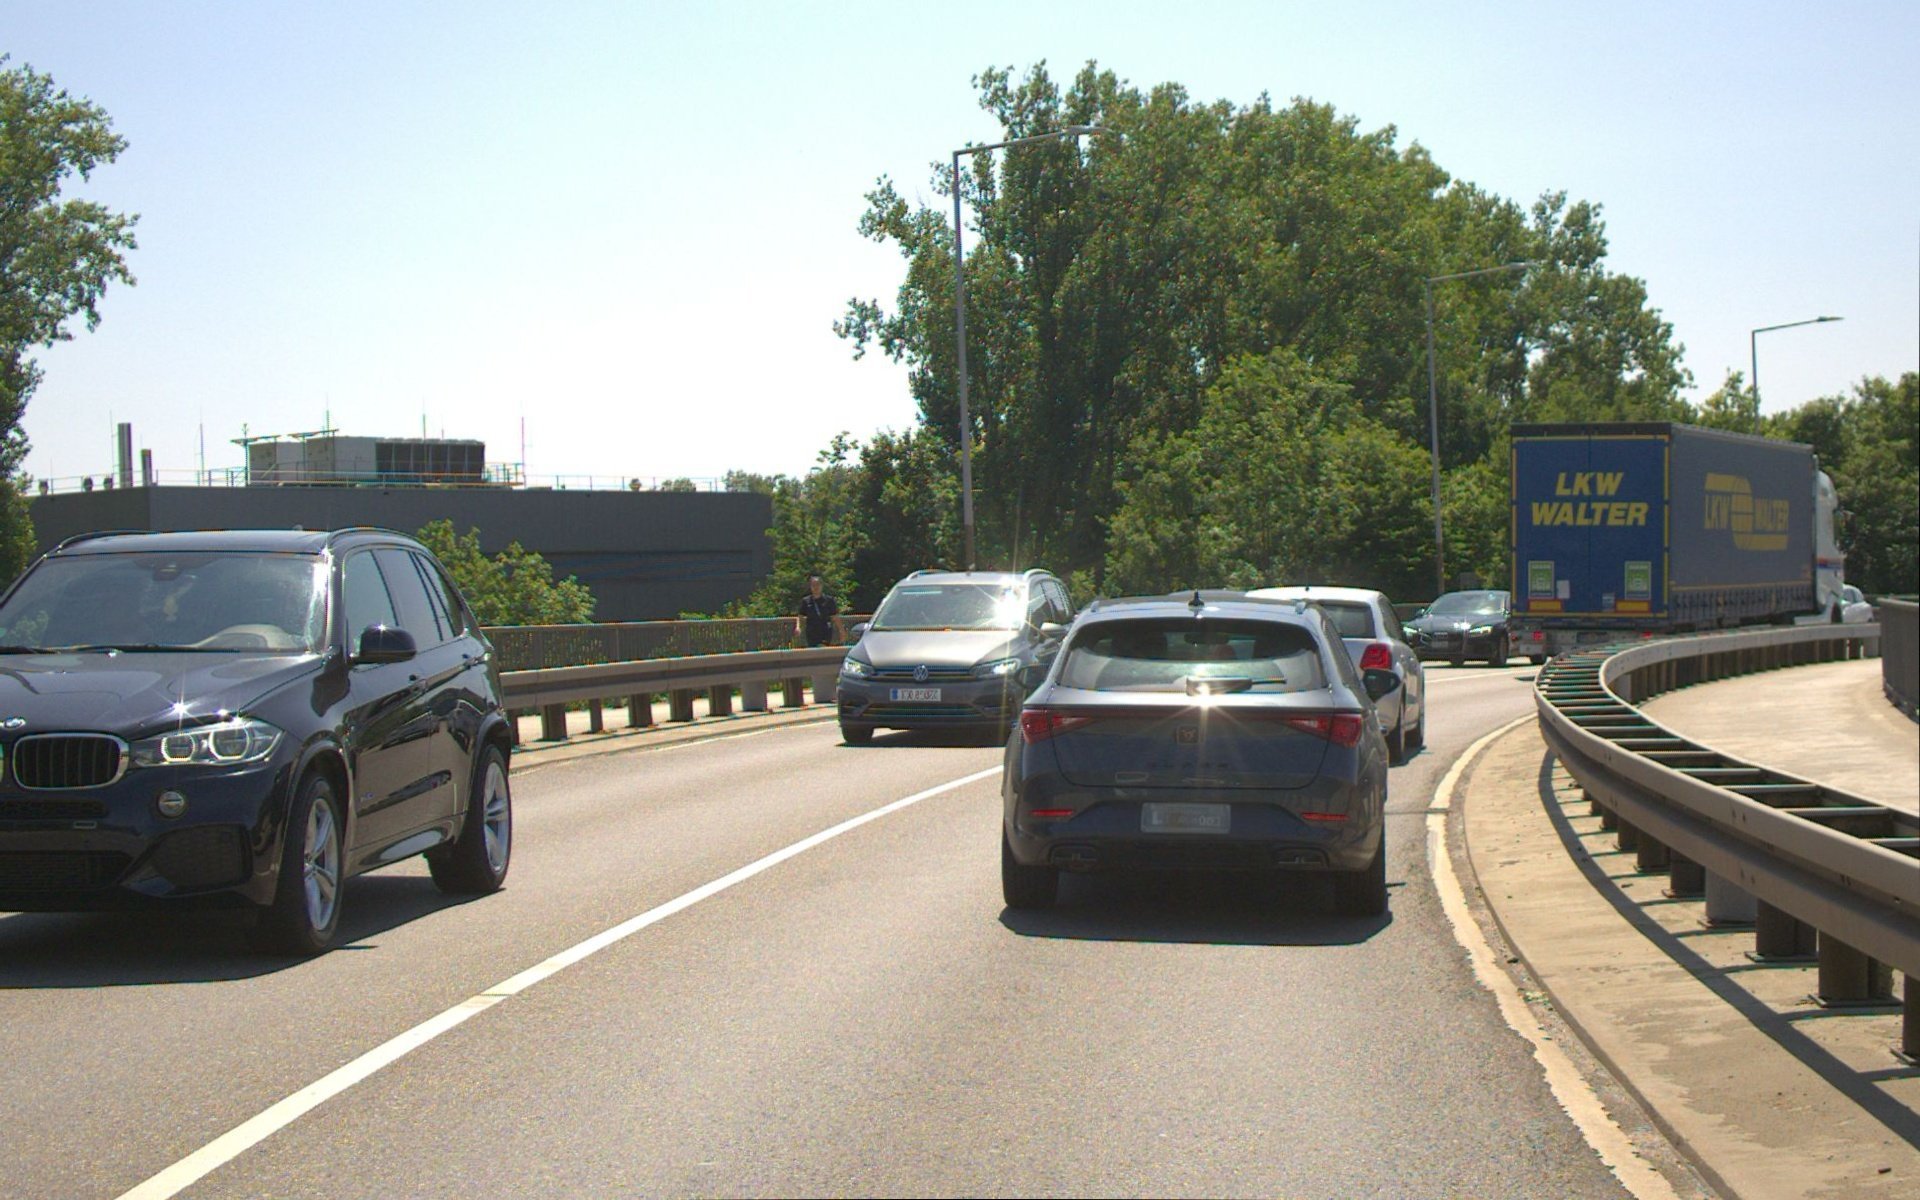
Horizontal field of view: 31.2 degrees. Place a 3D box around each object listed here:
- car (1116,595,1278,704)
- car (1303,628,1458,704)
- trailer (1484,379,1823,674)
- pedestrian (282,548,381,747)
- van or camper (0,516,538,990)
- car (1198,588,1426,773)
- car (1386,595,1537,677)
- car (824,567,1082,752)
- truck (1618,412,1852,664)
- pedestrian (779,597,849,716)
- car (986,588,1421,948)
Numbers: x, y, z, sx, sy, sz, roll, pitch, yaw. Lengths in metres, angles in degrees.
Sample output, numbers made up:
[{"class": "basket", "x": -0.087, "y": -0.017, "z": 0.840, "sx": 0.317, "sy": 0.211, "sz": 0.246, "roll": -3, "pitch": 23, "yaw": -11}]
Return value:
[{"class": "car", "x": 3.349, "y": 0.677, "z": 47.947, "sx": 1.790, "sy": 1.414, "sz": 3.771, "roll": -2, "pitch": -1, "yaw": 11}, {"class": "car", "x": 8.322, "y": 1.277, "z": 67.700, "sx": 1.791, "sy": 1.410, "sz": 4.569, "roll": -1, "pitch": -1, "yaw": 24}, {"class": "trailer", "x": 12.389, "y": -1.145, "z": 60.120, "sx": 3.138, "sy": 4.598, "sz": 12.932, "roll": 1, "pitch": 0, "yaw": 23}, {"class": "pedestrian", "x": -5.688, "y": 0.425, "z": 31.152, "sx": 0.638, "sy": 1.776, "sz": 0.811, "roll": 1, "pitch": 0, "yaw": 8}, {"class": "van or camper", "x": -3.360, "y": 0.591, "z": 15.199, "sx": 1.994, "sy": 1.755, "sz": 4.697, "roll": -1, "pitch": 0, "yaw": 5}, {"class": "car", "x": 3.074, "y": 0.649, "z": 29.513, "sx": 1.594, "sy": 1.456, "sz": 3.543, "roll": 1, "pitch": 0, "yaw": 11}, {"class": "car", "x": 9.179, "y": 0.634, "z": 62.702, "sx": 1.791, "sy": 1.414, "sz": 3.769, "roll": -2, "pitch": -1, "yaw": 23}, {"class": "car", "x": 0.006, "y": 0.562, "z": 32.972, "sx": 1.896, "sy": 1.649, "sz": 4.256, "roll": -1, "pitch": -1, "yaw": 8}, {"class": "truck", "x": 15.082, "y": -1.118, "z": 66.439, "sx": 3.174, "sy": 4.569, "sz": 7.387, "roll": 1, "pitch": 0, "yaw": 22}, {"class": "pedestrian", "x": -1.958, "y": 0.754, "z": 46.019, "sx": 0.715, "sy": 1.556, "sz": 0.694, "roll": -2, "pitch": -1, "yaw": 16}, {"class": "car", "x": 1.070, "y": 0.710, "z": 16.549, "sx": 1.845, "sy": 1.493, "sz": 3.758, "roll": 0, "pitch": 1, "yaw": 1}]
